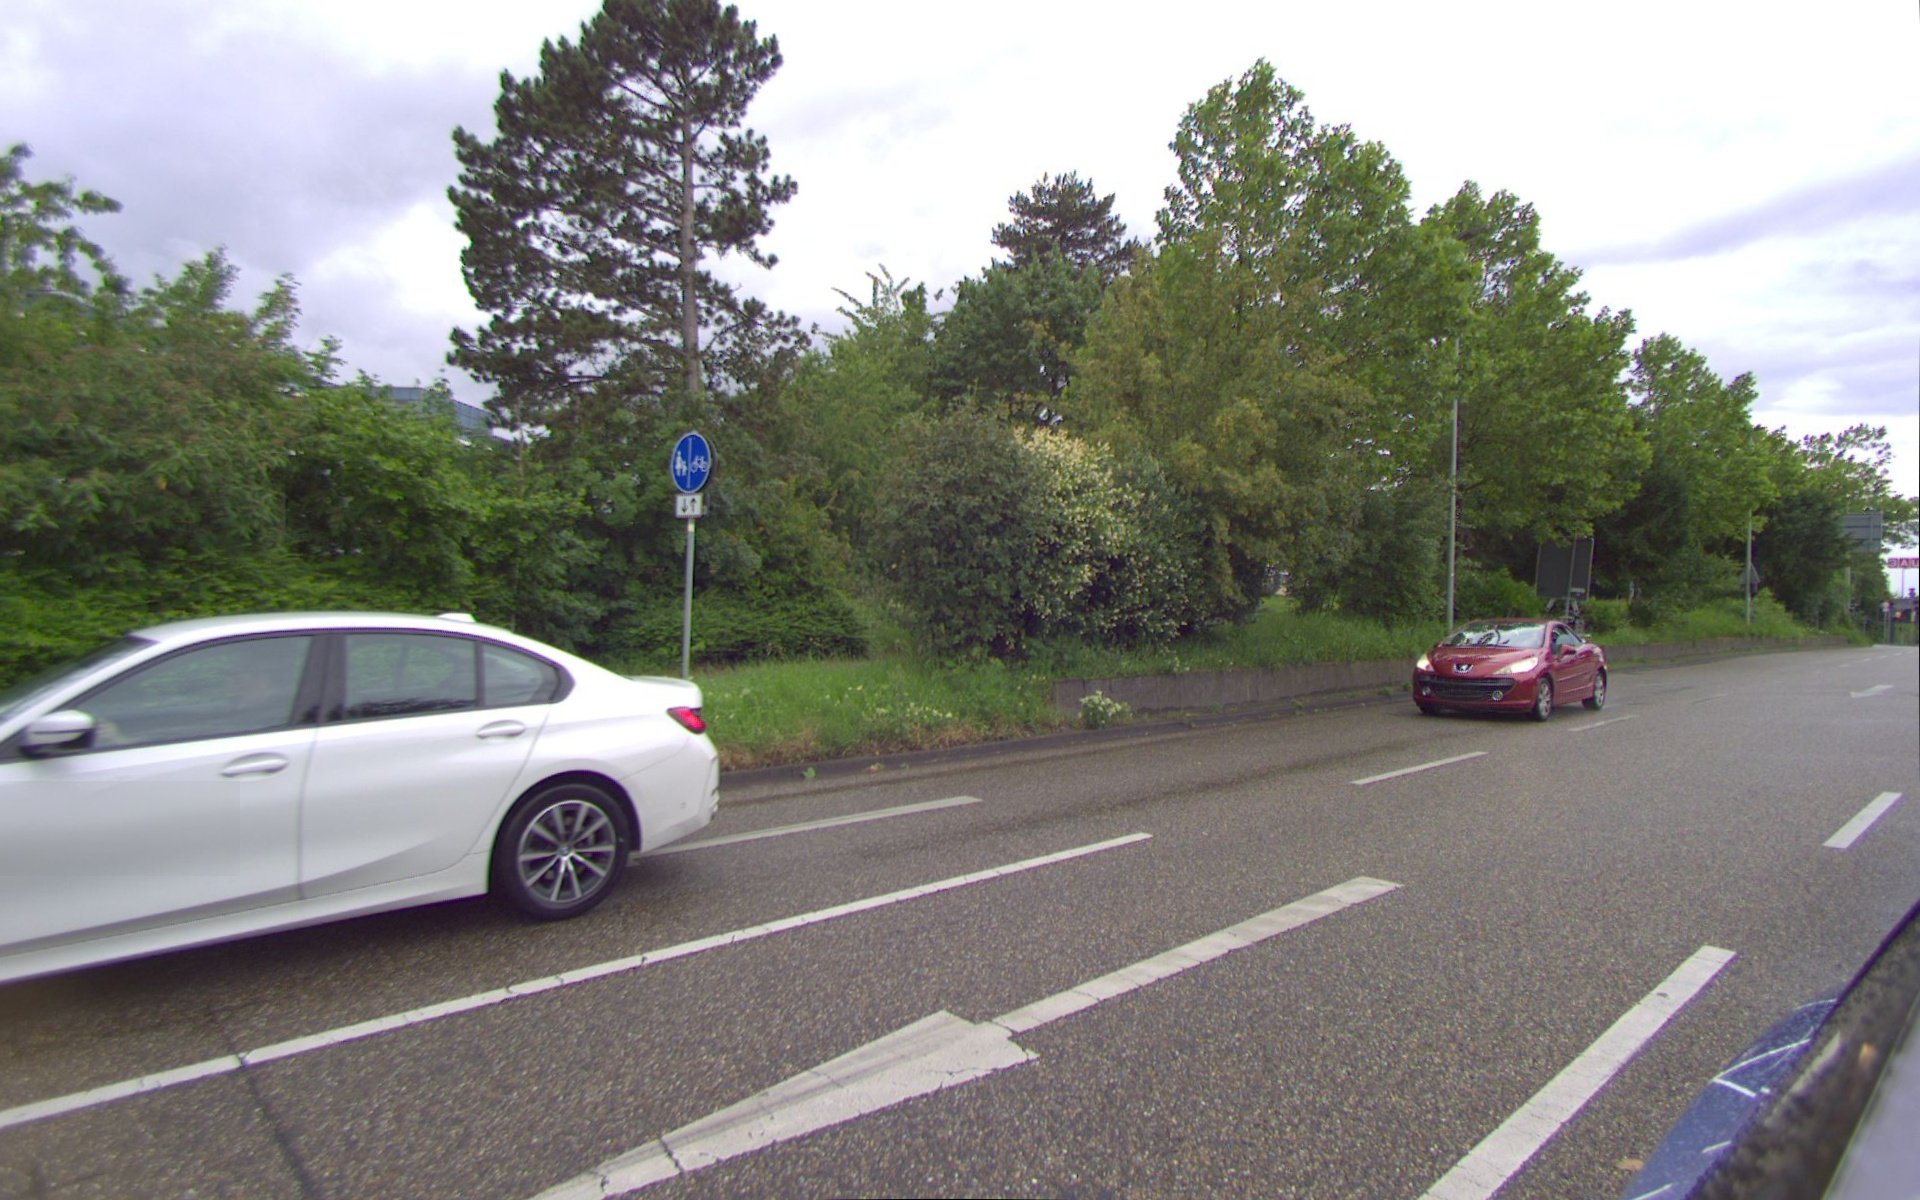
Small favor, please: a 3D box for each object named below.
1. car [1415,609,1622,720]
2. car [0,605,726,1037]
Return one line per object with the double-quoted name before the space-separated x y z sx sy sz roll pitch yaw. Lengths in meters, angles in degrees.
"car" 8.347 0.852 15.010 3.627 1.421 1.627 0 0 -43
"car" -3.333 0.757 4.490 4.233 1.445 1.666 0 -1 -43
